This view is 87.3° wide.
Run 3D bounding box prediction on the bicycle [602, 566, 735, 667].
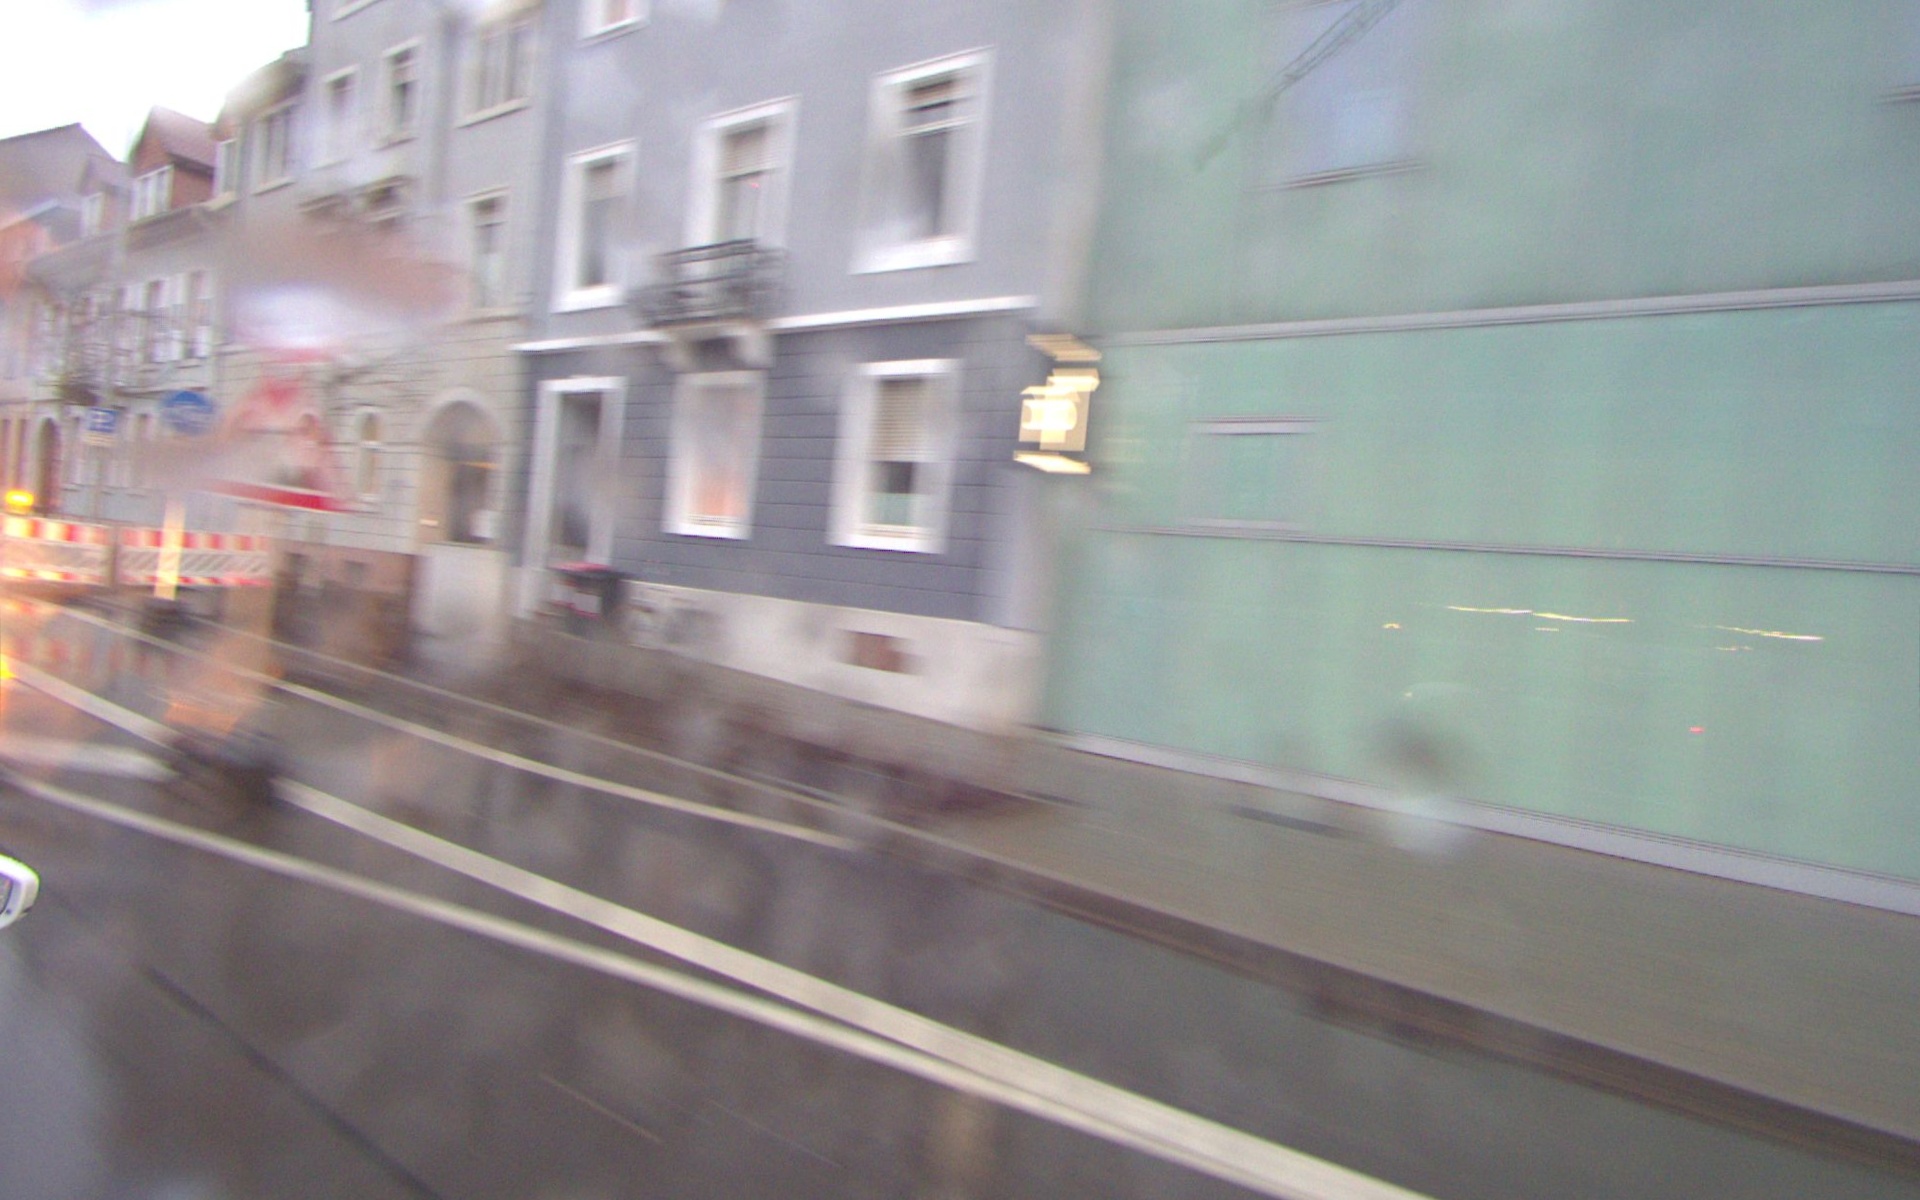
[{"bbox_3d":[-4.129,0.210,14.196,1.874,1.238,0.682,6,3,33],"label":"bicycle"}]
